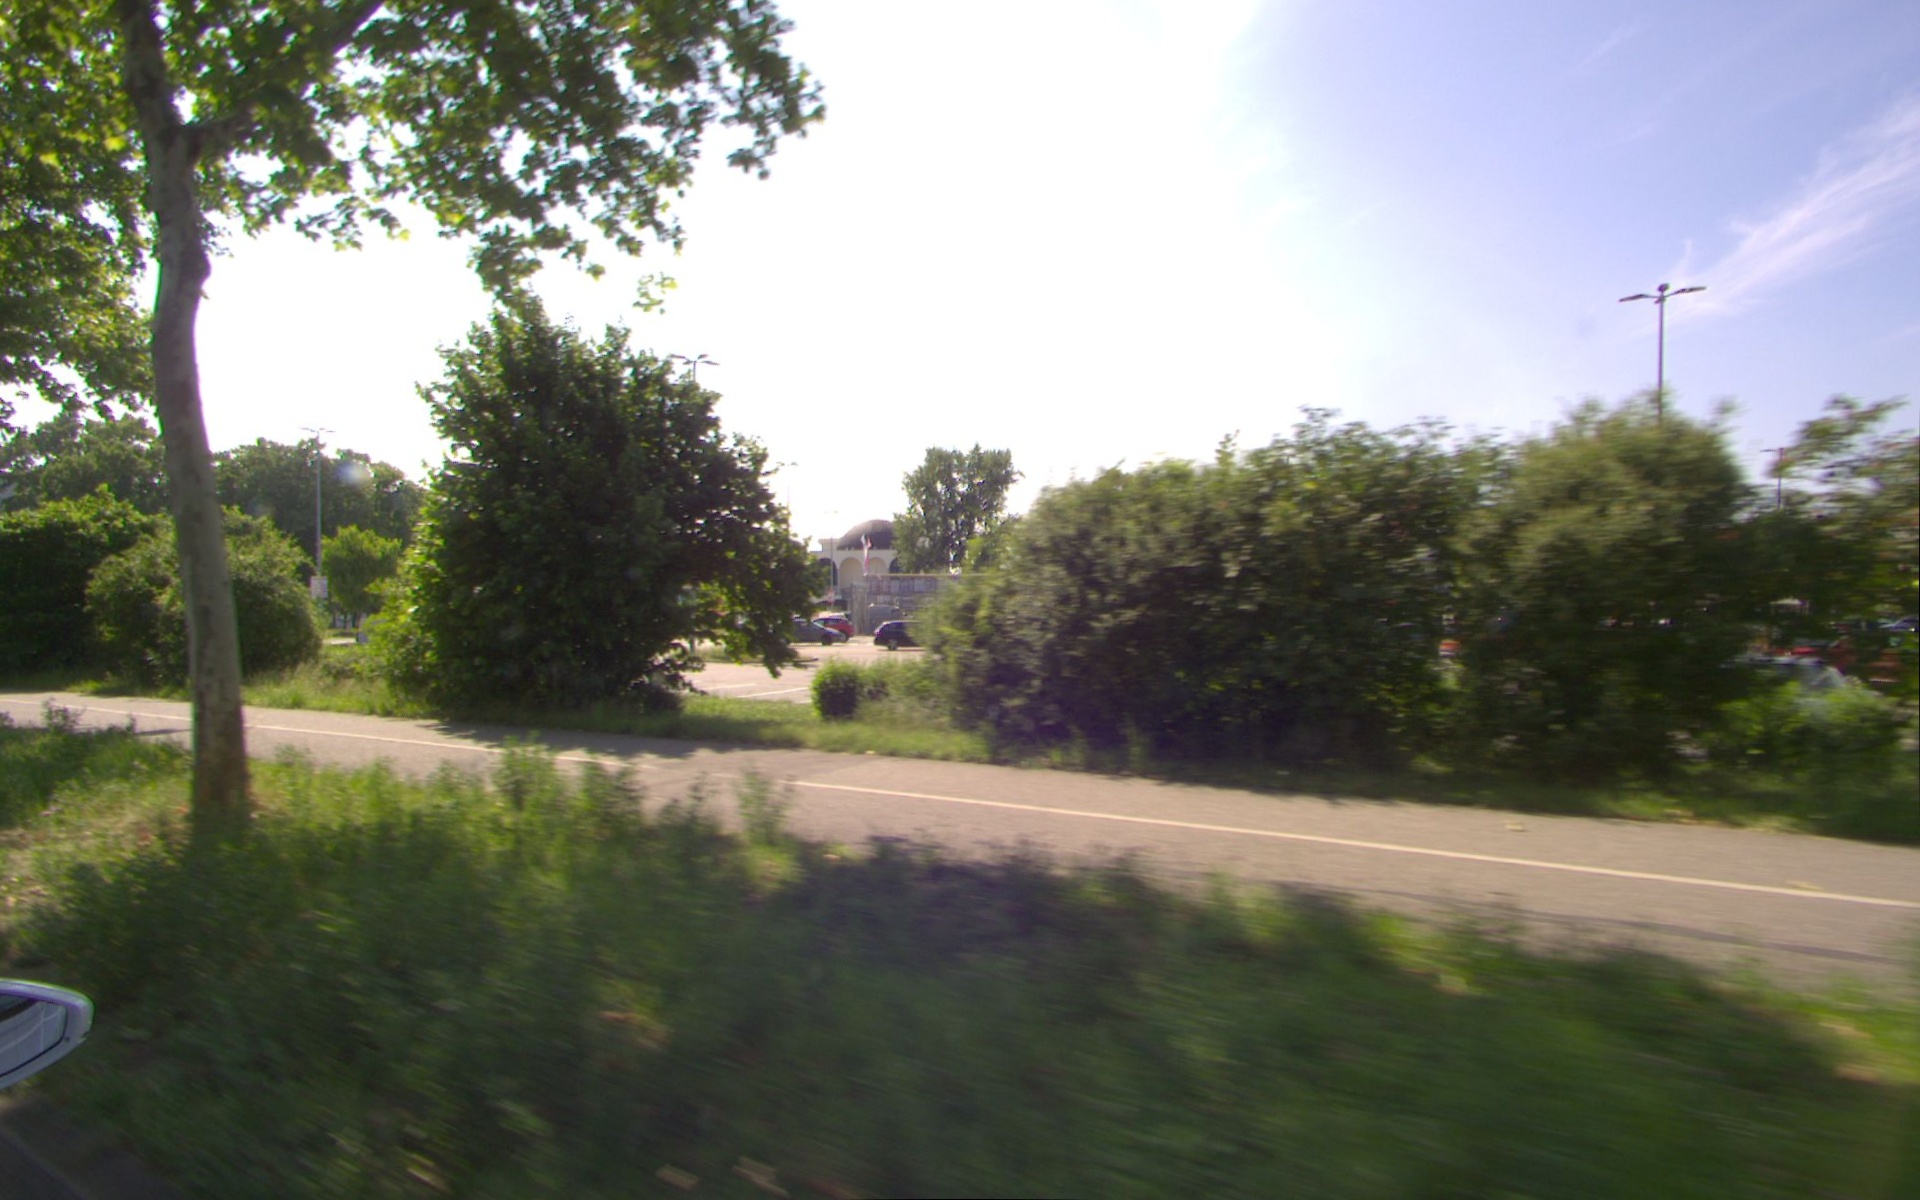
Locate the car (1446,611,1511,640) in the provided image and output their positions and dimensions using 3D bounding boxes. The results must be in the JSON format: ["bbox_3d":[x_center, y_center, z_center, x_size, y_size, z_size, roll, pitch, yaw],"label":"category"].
[{"bbox_3d":[36.121,1.764,69.818,3.787,1.972,1.530,0,-1,-3],"label":"car"}]

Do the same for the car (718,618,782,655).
[{"bbox_3d":[-8.810,1.548,42.041,2.574,1.511,0.944,0,-2,-10],"label":"car"}]

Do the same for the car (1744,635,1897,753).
[{"bbox_3d":[12.787,1.313,15.027,1.177,1.475,3.148,-1,0,30],"label":"car"}]
